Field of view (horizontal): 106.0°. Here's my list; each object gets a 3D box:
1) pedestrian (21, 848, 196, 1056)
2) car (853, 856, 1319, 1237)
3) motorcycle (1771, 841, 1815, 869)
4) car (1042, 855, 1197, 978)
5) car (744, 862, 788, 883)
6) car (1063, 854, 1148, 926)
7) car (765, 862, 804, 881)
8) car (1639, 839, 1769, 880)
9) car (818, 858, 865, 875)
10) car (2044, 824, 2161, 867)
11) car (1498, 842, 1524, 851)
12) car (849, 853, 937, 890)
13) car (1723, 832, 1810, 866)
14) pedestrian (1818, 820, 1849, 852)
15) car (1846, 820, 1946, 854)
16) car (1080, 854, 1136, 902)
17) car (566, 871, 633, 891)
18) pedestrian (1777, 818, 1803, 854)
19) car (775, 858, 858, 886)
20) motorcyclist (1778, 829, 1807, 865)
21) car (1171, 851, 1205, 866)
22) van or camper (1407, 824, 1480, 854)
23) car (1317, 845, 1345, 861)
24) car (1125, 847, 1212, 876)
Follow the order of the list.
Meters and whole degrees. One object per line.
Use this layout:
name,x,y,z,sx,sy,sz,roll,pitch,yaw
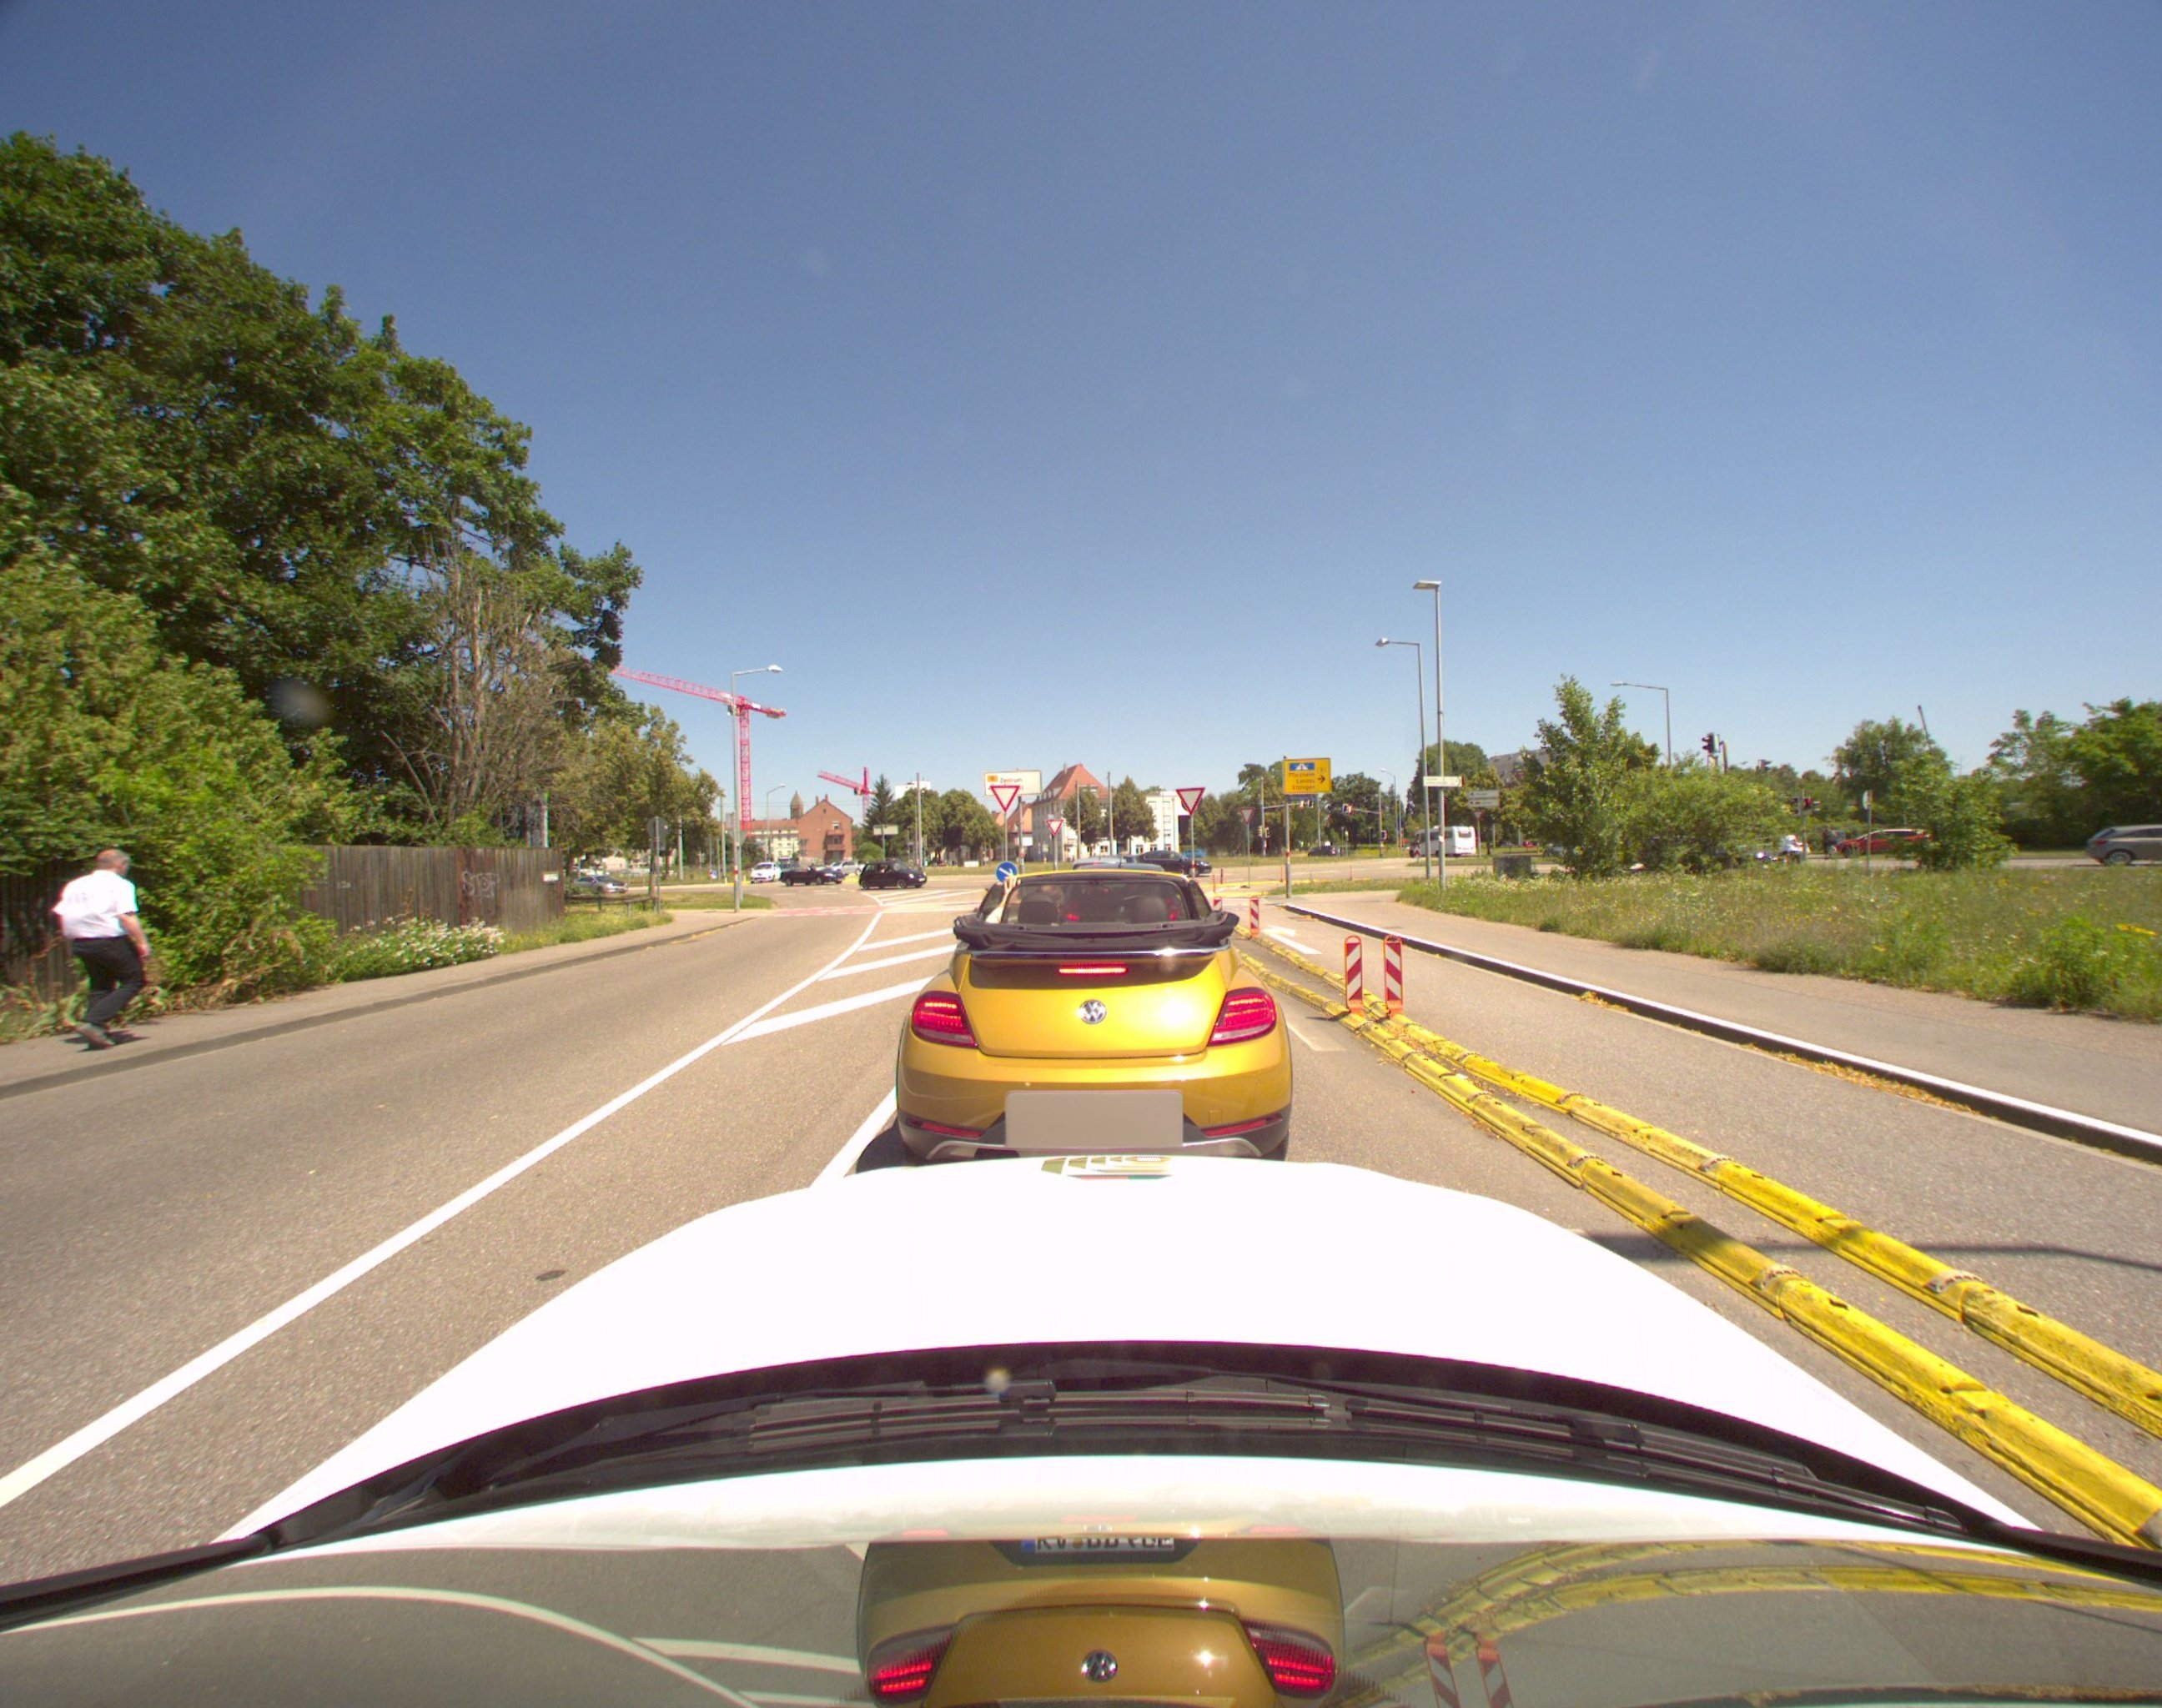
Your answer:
pedestrian,-9.043,0.863,7.610,0.590,1.825,0.851,-1,0,2
car,0.069,0.739,4.985,1.746,1.422,3.778,-1,0,1
motorcycle,25.793,0.033,29.504,1.712,0.970,0.625,-1,0,-28
car,0.530,0.758,11.784,1.841,1.442,4.002,-1,0,2
car,-24.664,1.430,63.813,1.749,1.549,4.002,-1,0,2
car,0.571,0.751,18.802,1.730,1.442,4.002,-1,0,2
car,-25.371,1.465,69.754,1.749,1.549,4.002,-1,0,2
car,25.799,0.231,33.899,3.964,1.620,1.746,-1,0,23
car,-23.237,1.190,79.039,1.690,1.500,4.247,-1,0,34
car,38.600,-0.318,29.746,4.209,1.524,1.833,-1,0,43
car,79.415,-1.374,150.540,3.993,1.714,1.990,-1,0,-15
car,-9.790,0.907,42.411,3.954,1.816,2.010,-1,0,18
car,42.714,-0.269,50.785,3.950,2.014,2.012,-1,0,45
pedestrian,37.821,-0.878,40.938,0.788,1.563,0.824,-1,0,7
car,44.092,-0.885,44.122,2.011,1.717,3.713,-1,0,-44
car,0.929,0.759,27.601,1.730,1.477,4.002,-1,0,2
car,-32.985,1.853,55.769,4.225,1.316,1.833,-1,0,24
pedestrian,36.739,-0.922,42.215,0.647,1.870,0.737,-1,-1,3
car,-16.929,1.145,52.079,4.894,1.656,2.011,-1,0,22
motorcyclist,25.813,-0.255,29.550,0.616,1.289,0.576,-1,-1,-27
car,13.100,0.546,99.369,3.960,1.838,2.007,-1,0,12
van or camper,34.760,-1.363,78.466,2.506,2.693,7.483,-1,0,-11
car,25.423,-0.062,82.919,1.643,1.606,3.222,-1,0,-5
car,4.734,0.410,43.756,4.491,1.447,1.828,-1,0,9
